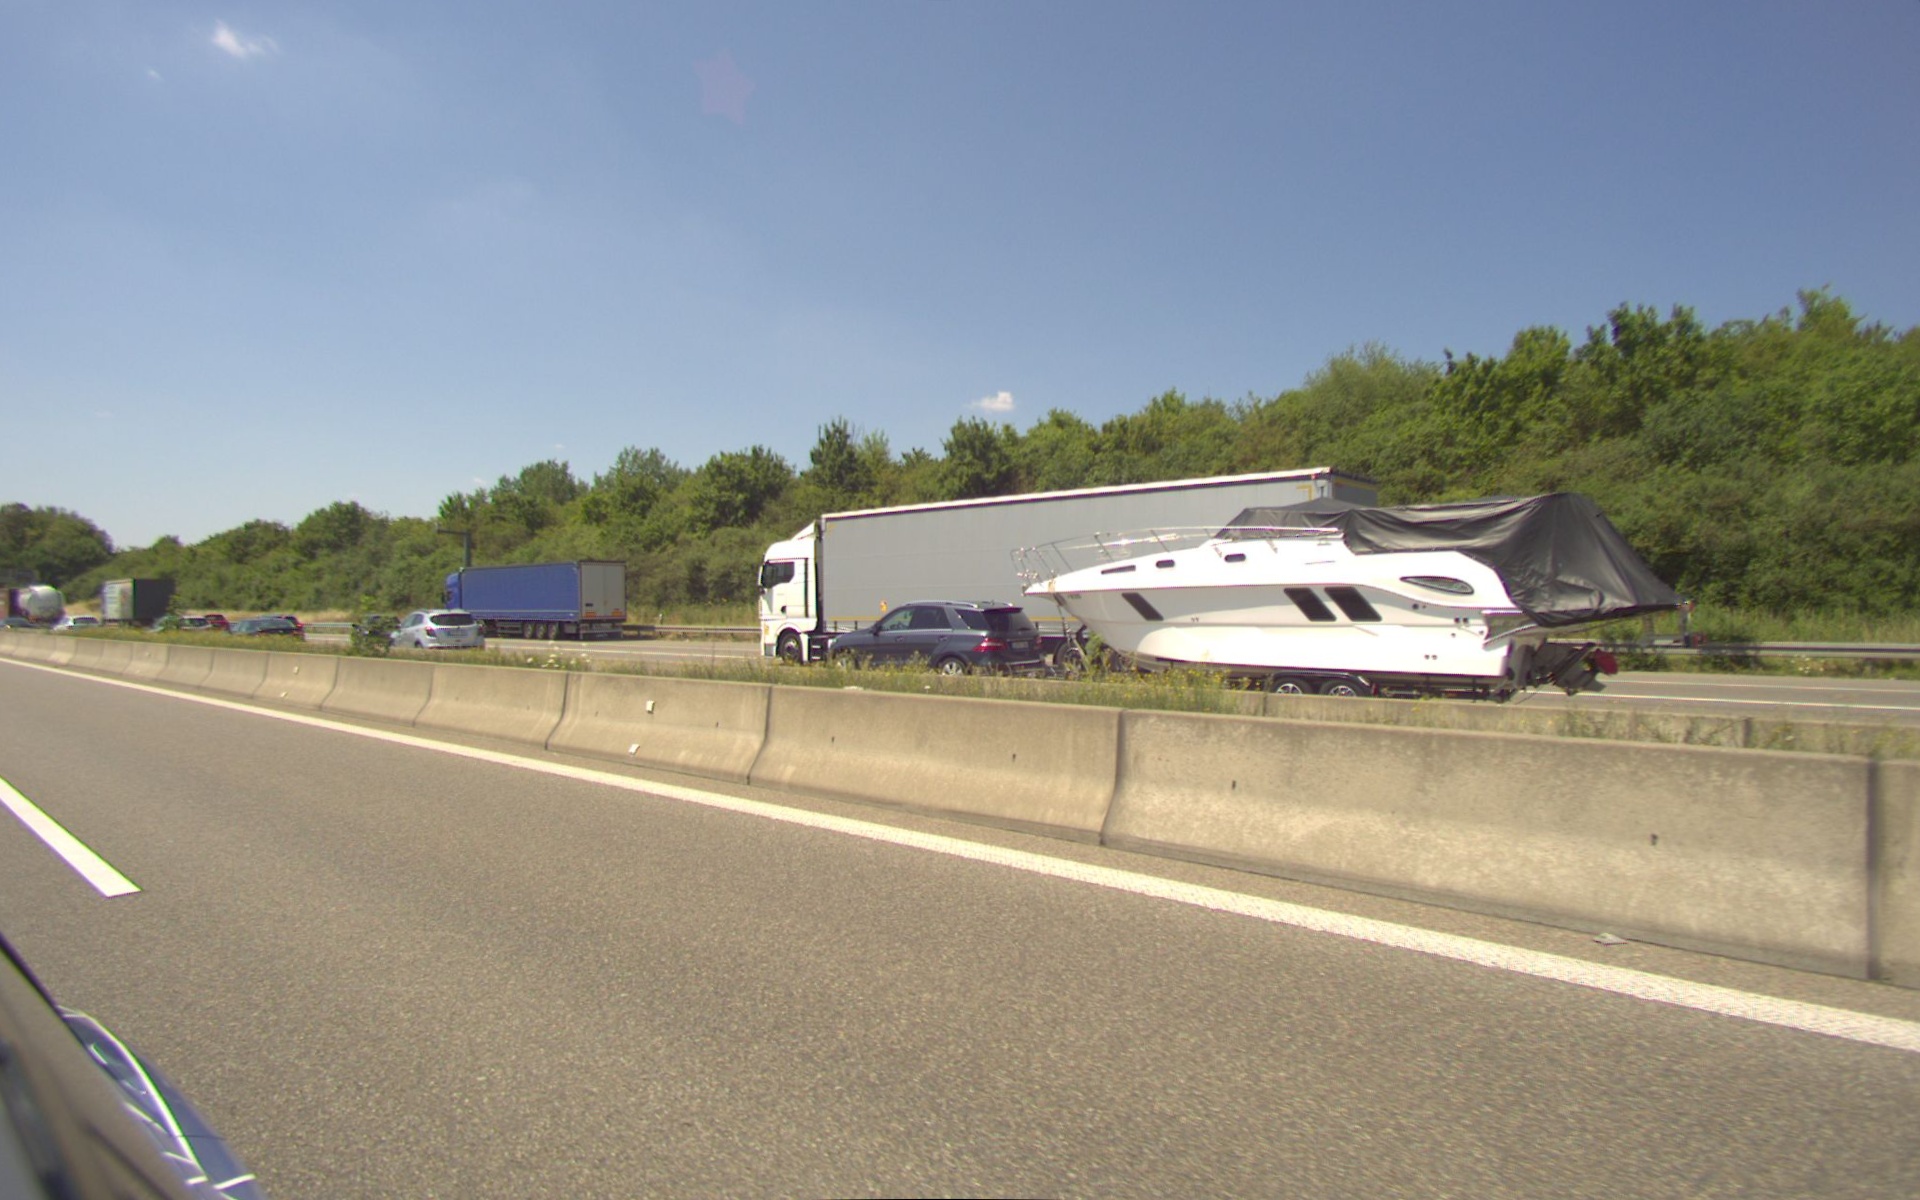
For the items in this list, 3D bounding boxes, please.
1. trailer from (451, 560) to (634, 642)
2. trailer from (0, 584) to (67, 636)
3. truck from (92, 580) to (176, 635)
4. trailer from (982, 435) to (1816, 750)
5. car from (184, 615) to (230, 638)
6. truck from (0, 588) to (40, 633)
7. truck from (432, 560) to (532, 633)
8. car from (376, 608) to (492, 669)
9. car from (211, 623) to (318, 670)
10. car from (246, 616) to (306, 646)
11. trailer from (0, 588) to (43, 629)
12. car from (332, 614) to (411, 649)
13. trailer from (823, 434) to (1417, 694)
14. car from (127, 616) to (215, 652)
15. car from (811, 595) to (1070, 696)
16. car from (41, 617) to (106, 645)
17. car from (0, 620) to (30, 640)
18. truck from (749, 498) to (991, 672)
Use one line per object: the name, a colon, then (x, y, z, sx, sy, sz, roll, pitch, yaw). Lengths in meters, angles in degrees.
trailer: (-23.009, 0.166, 54.957, 14.485, 4.001, 3.049, -1, -1, 41)
trailer: (-80.823, 0.816, 87.601, 14.155, 4.196, 2.909, 0, 0, 39)
truck: (-62.674, 0.626, 76.676, 10.346, 3.946, 2.979, -1, -1, 40)
trailer: (5.411, -0.066, 14.784, 10.718, 3.207, 2.841, 0, 0, 39)
car: (-48.982, 1.719, 65.839, 4.212, 1.415, 1.727, -1, -1, 44)
truck: (-85.928, 0.911, 91.741, 6.079, 3.910, 2.855, 0, 0, 39)
truck: (-28.074, -0.164, 59.369, 6.089, 4.059, 3.057, -1, -1, 40)
car: (-15.776, 1.096, 30.266, 4.443, 1.690, 1.821, -1, -1, 45)
car: (-24.412, 1.574, 35.467, 4.303, 1.532, 1.974, -1, -1, 39)
car: (-36.168, 1.608, 53.489, 1.856, 1.461, 4.635, 1, -1, -44)
trailer: (-100.290, 0.897, 106.864, 14.067, 4.141, 2.910, -1, -1, 39)
car: (-26.495, 1.379, 45.508, 4.308, 1.532, 1.971, -1, -1, 44)
trailer: (2.656, -0.502, 23.035, 13.772, 4.455, 3.188, -1, -1, 41)
car: (-34.189, 1.453, 43.813, 4.788, 1.456, 1.974, -1, -1, 39)
car: (-0.472, 0.821, 19.855, 4.926, 1.736, 2.086, -1, -1, 39)
car: (-50.539, 1.731, 57.661, 5.146, 1.532, 1.974, -1, -1, 39)
car: (-65.203, 2.024, 69.190, 4.217, 1.285, 1.773, -1, -1, 39)
truck: (-2.537, -0.295, 27.421, 6.179, 4.164, 3.166, -1, -1, 41)
